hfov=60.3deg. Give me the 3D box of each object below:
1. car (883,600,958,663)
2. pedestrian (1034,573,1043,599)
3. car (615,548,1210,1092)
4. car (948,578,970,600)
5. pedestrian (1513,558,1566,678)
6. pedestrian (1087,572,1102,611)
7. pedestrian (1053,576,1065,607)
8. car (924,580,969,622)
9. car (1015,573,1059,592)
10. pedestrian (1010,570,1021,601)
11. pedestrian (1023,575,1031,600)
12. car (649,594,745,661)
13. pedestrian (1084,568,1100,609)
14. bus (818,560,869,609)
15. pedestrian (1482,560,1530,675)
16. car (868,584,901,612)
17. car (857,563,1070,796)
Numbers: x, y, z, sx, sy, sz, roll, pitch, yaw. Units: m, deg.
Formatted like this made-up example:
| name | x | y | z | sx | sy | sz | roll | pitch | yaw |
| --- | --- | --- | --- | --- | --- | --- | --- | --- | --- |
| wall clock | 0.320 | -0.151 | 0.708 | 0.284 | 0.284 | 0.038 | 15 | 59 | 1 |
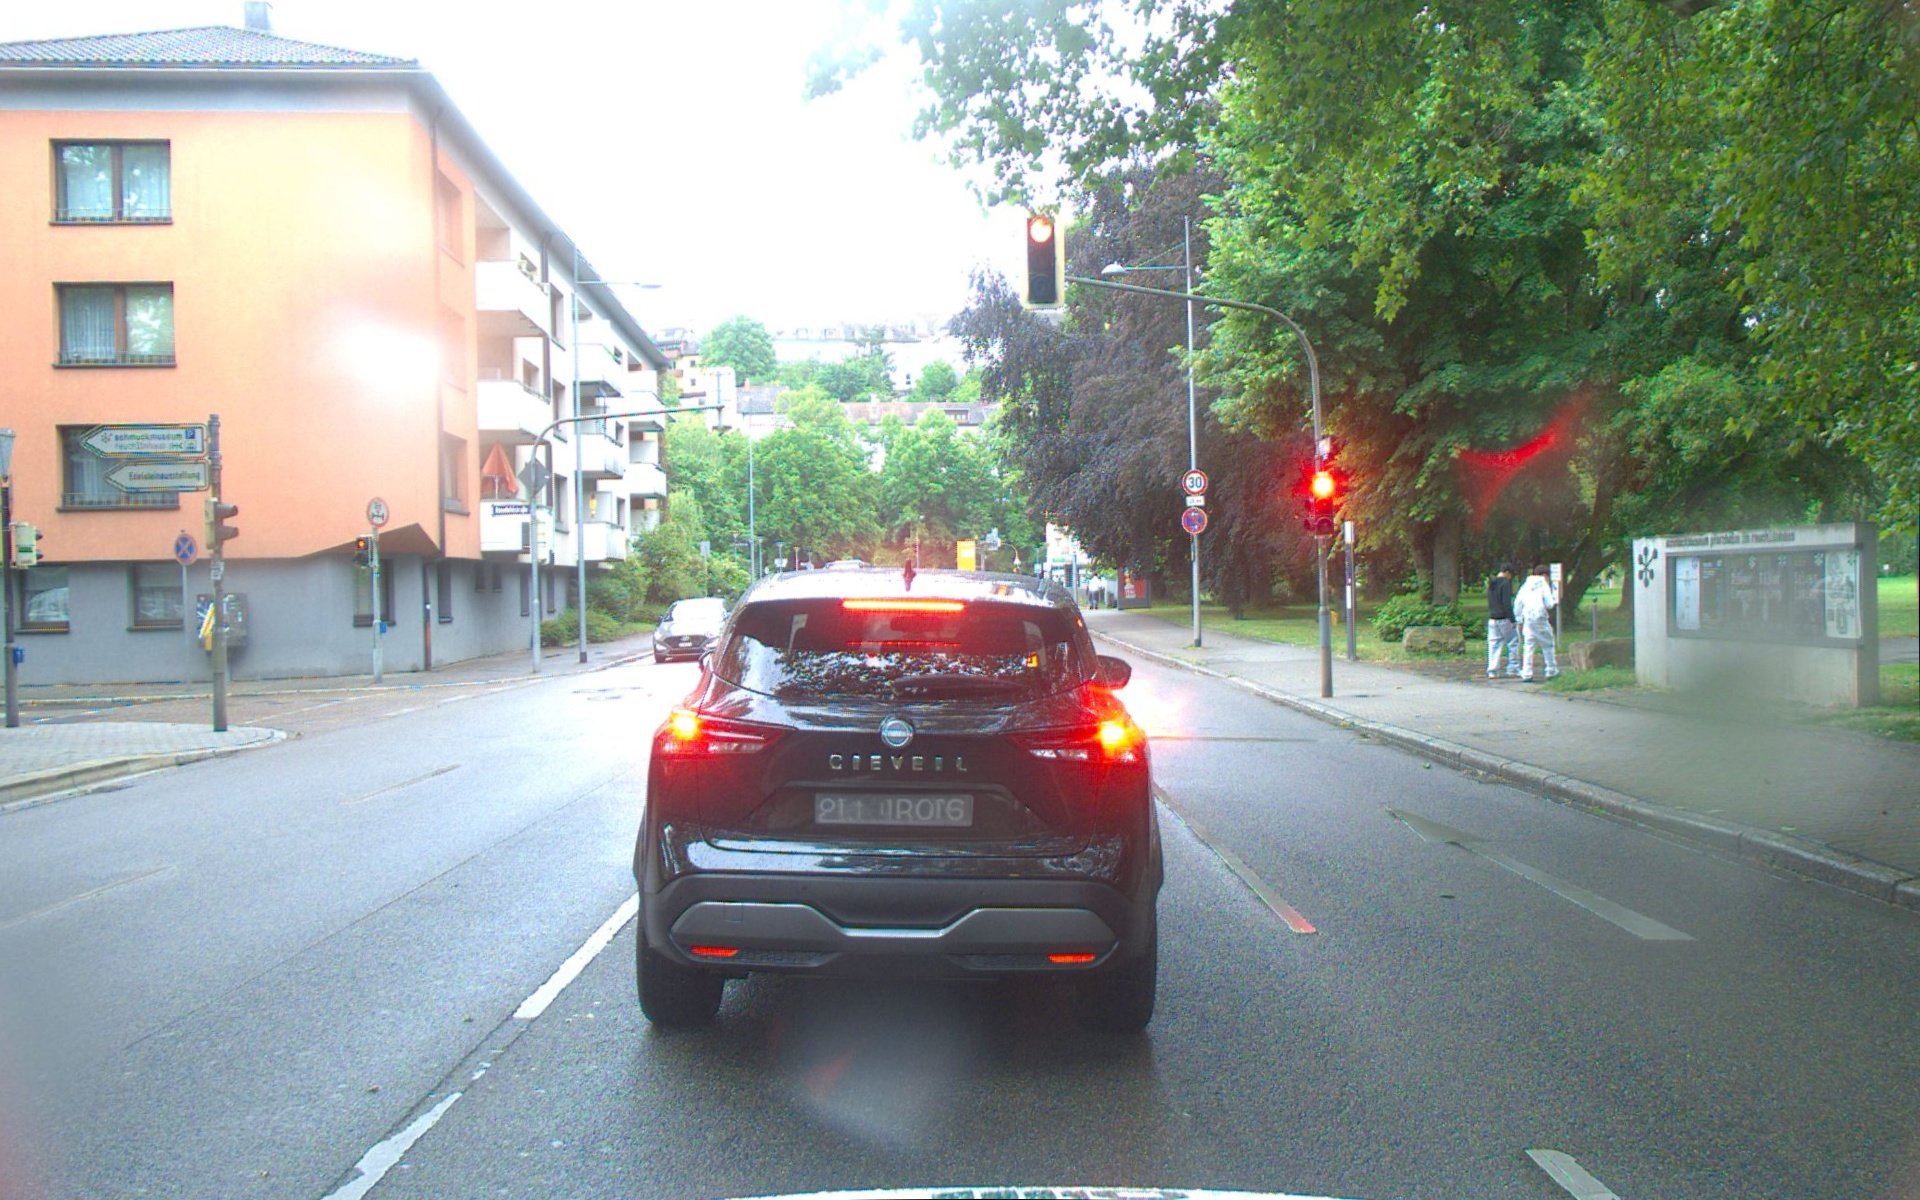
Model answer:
| name | x | y | z | sx | sy | sz | roll | pitch | yaw |
| --- | --- | --- | --- | --- | --- | --- | --- | --- | --- |
| car | -0.993 | 0.751 | 41.042 | 1.772 | 1.442 | 4.029 | 0 | 0 | -2 |
| pedestrian | 5.260 | -0.927 | 110.713 | 0.504 | 1.684 | 0.550 | 1 | -1 | -1 |
| car | -0.168 | 0.675 | 6.994 | 1.769 | 1.618 | 3.999 | 1 | 0 | -1 |
| car | -0.069 | -0.910 | 136.617 | 1.714 | 1.662 | 3.634 | -2 | 1 | 0 |
| pedestrian | 8.623 | 0.259 | 24.624 | 0.493 | 1.751 | 0.559 | -2 | 0 | -7 |
| pedestrian | 6.483 | -0.410 | 79.580 | 0.606 | 1.810 | 0.778 | -2 | 0 | -1 |
| pedestrian | 5.988 | -0.524 | 100.321 | 0.606 | 1.810 | 0.550 | -2 | 0 | -1 |
| car | -0.491 | 0.016 | 61.054 | 1.591 | 1.439 | 3.454 | -2 | 0 | 0 |
| car | 7.588 | -1.706 | 163.491 | 3.916 | 1.713 | 1.995 | -2 | 0 | -11 |
| pedestrian | 4.139 | -1.070 | 122.874 | 0.752 | 2.222 | 0.711 | 1 | -1 | 2 |
| pedestrian | 4.524 | -0.867 | 111.790 | 0.533 | 1.680 | 0.490 | 1 | -1 | 0 |
| car | -6.439 | 0.641 | 40.831 | 1.772 | 1.441 | 4.029 | -3 | 1 | -2 |
| pedestrian | 6.686 | -0.599 | 83.895 | 0.661 | 2.049 | 0.777 | -2 | 0 | -1 |
| bus | -7.721 | -0.983 | 110.814 | 2.710 | 3.026 | 11.779 | -1 | 0 | -1 |
| pedestrian | 8.488 | 0.261 | 25.725 | 0.475 | 1.751 | 0.559 | -2 | 0 | -7 |
| car | -4.029 | -0.113 | 88.383 | 1.591 | 1.439 | 3.454 | -2 | 0 | 0 |
| car | 0.053 | 0.600 | 14.667 | 1.588 | 1.738 | 3.771 | -2 | 0 | 1 |
